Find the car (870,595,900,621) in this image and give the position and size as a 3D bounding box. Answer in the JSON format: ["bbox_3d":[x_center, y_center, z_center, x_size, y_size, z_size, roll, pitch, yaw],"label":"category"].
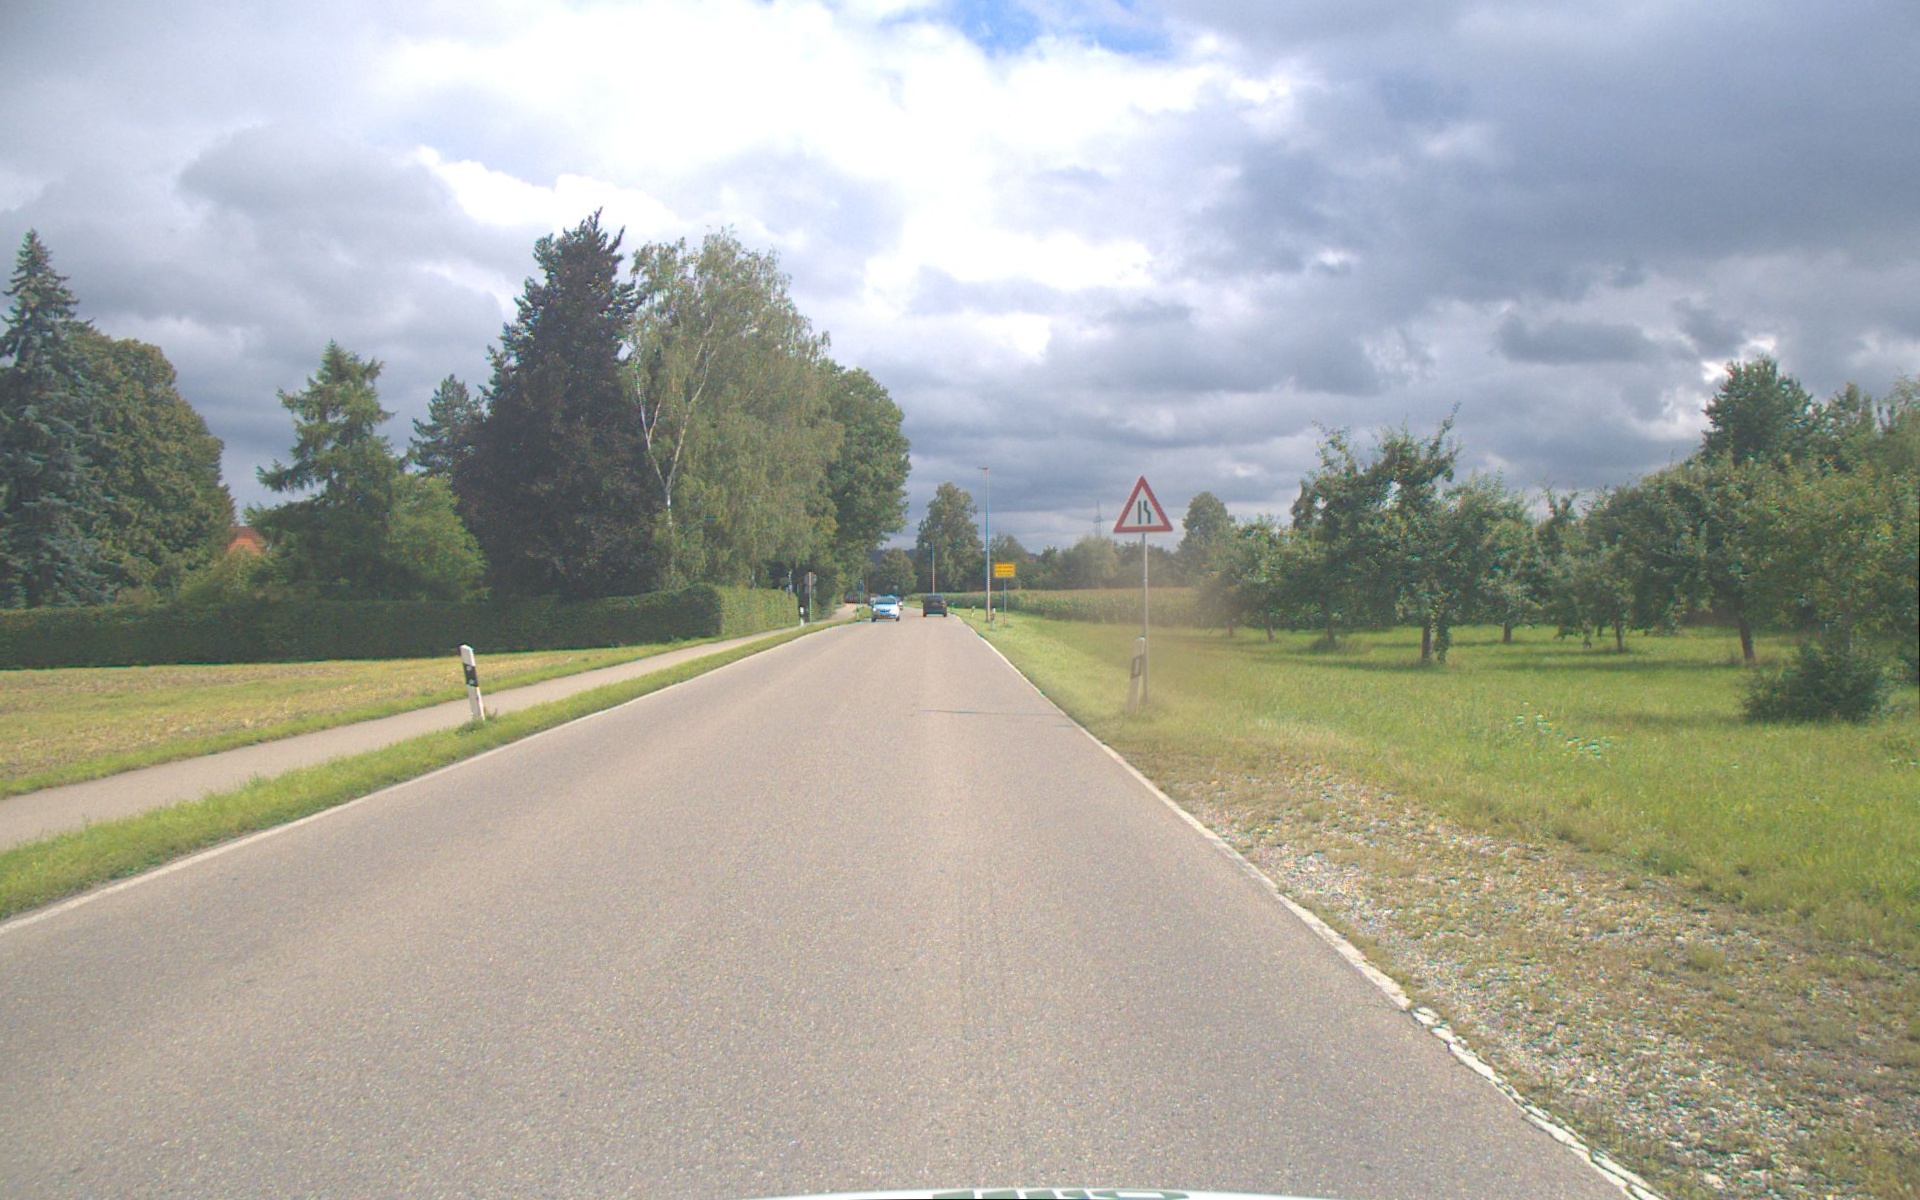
[{"bbox_3d":[-4.509,0.473,99.483,1.660,1.484,3.542,-1,0,-1],"label":"car"}]

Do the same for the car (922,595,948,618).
[{"bbox_3d":[-1.917,0.479,126.492,1.868,1.695,3.998,-2,0,-2],"label":"car"}]

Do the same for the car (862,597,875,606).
[{"bbox_3d":[-13.088,0.236,237.634,1.710,1.243,3.542,-2,0,-1],"label":"car"}]

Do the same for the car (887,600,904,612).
[{"bbox_3d":[-7.095,0.683,181.385,1.710,1.243,3.542,-1,-1,-1],"label":"car"}]
